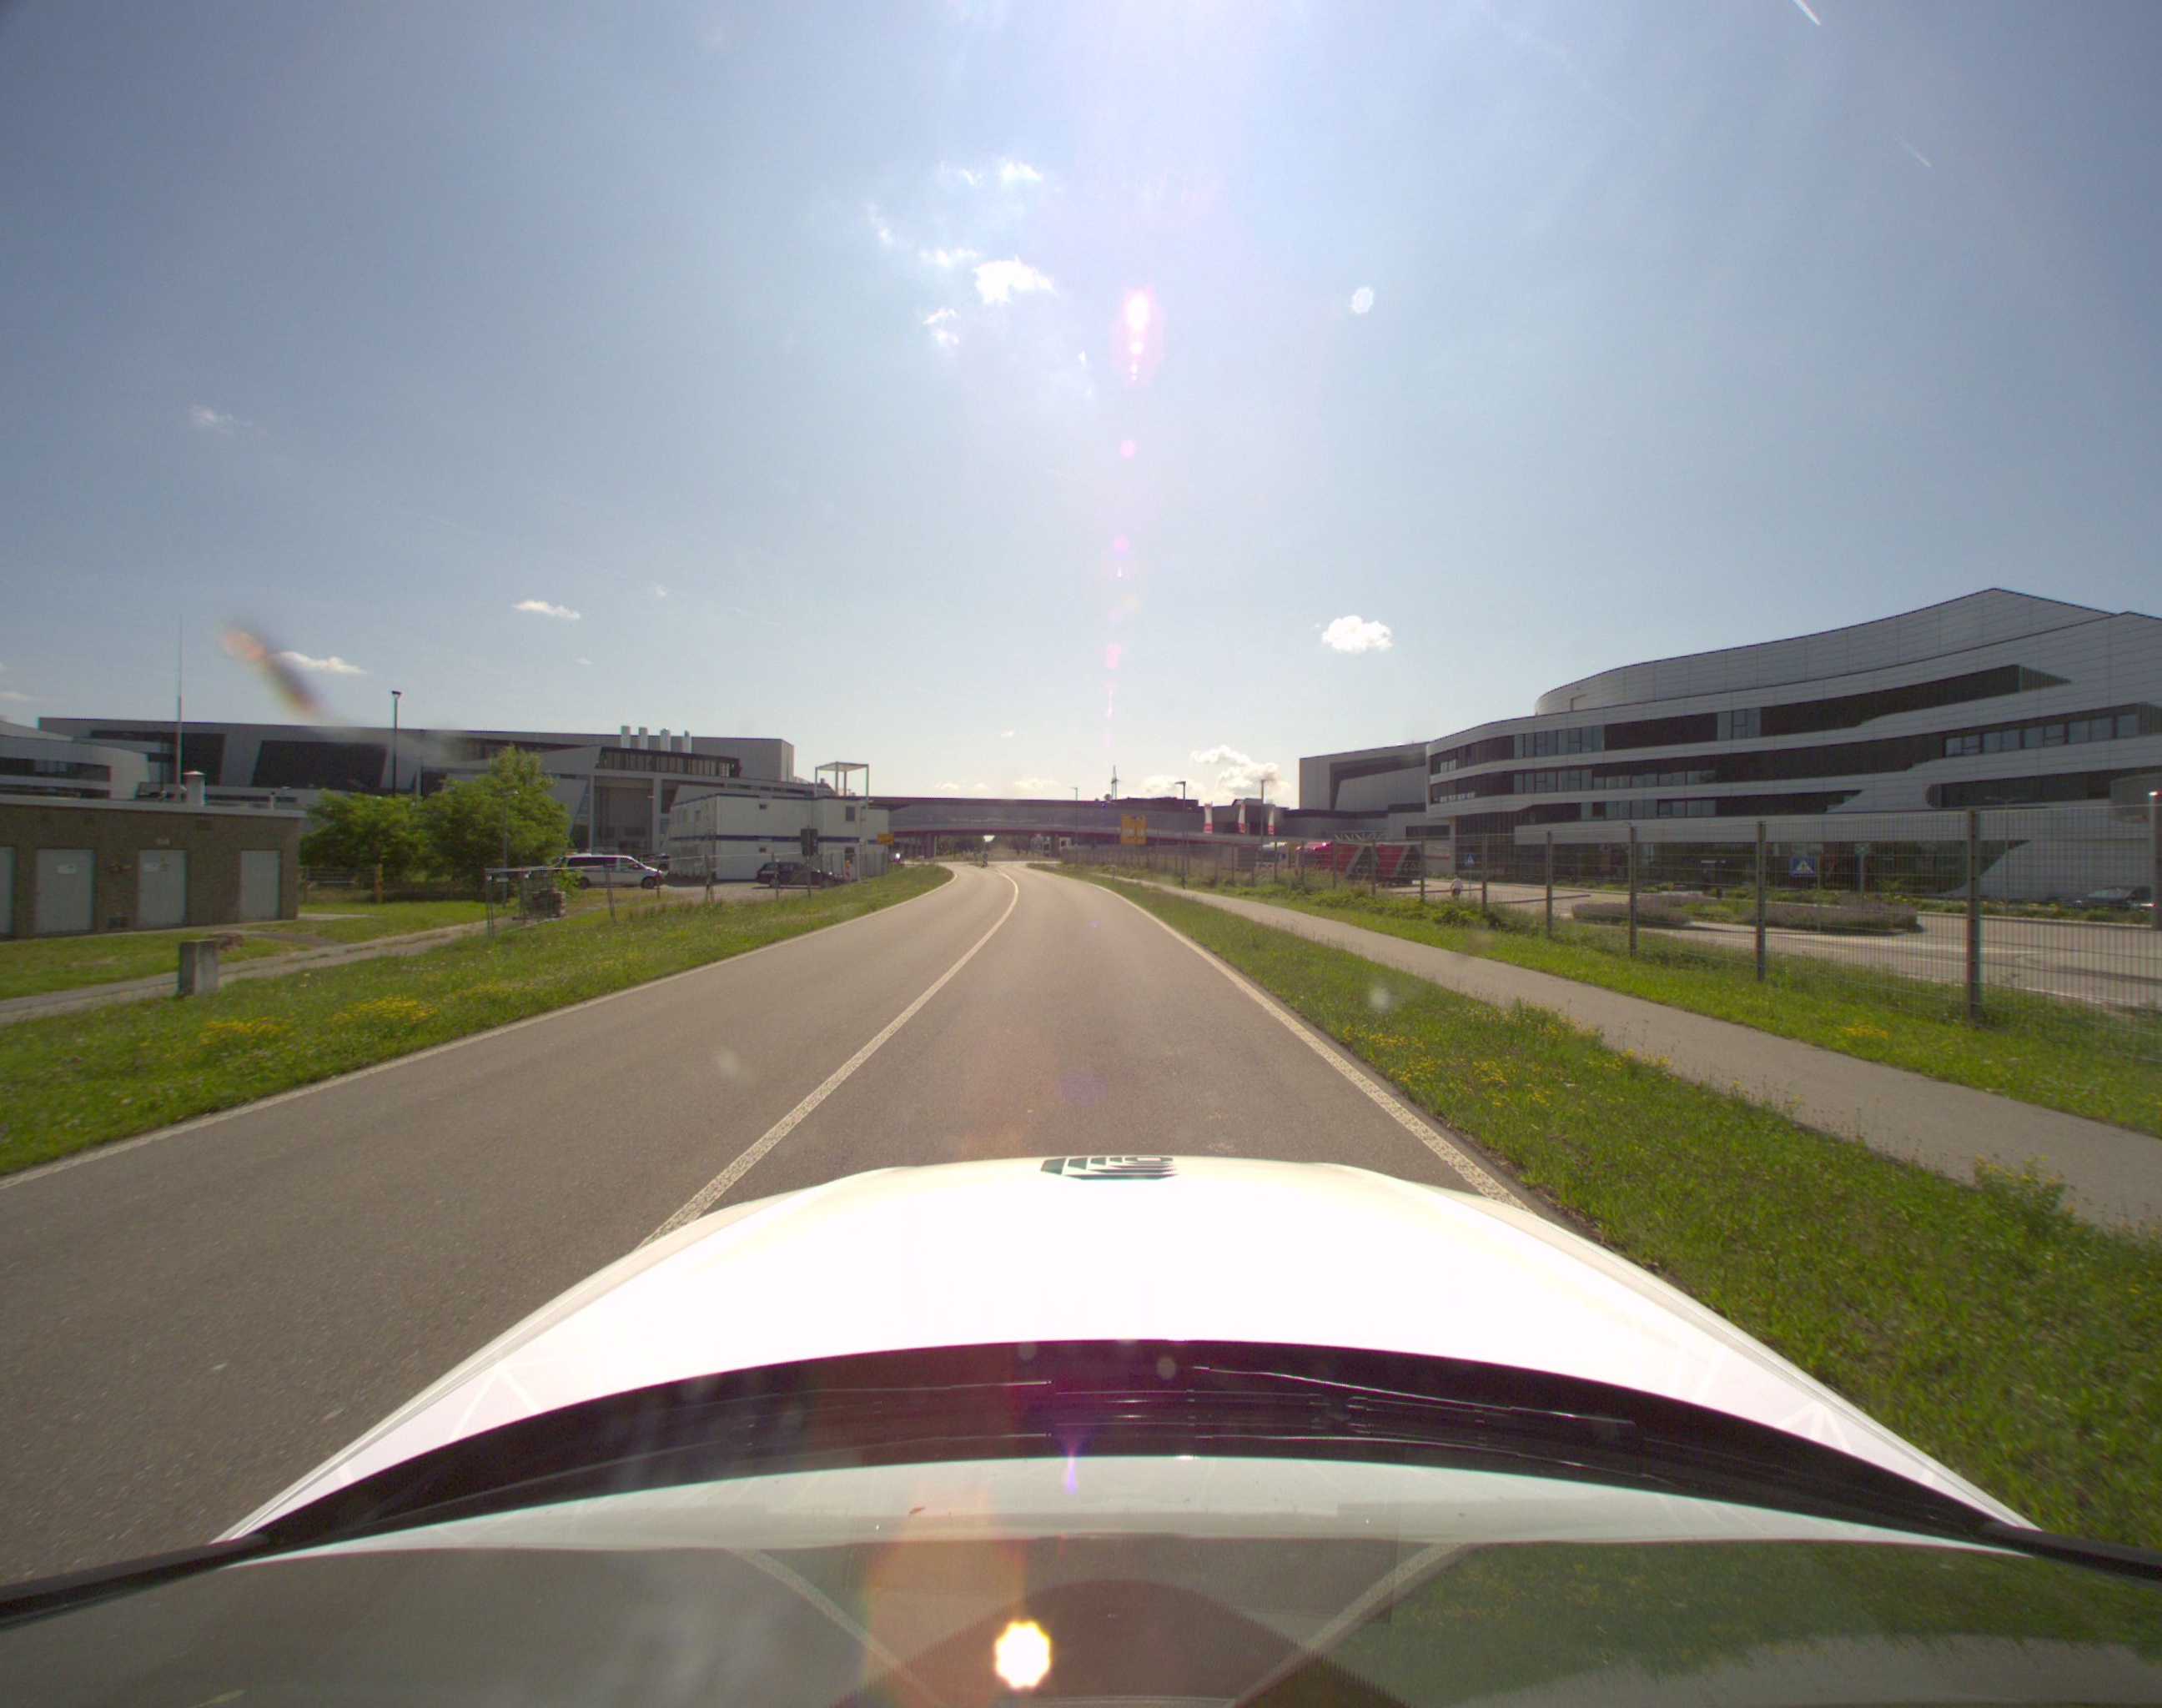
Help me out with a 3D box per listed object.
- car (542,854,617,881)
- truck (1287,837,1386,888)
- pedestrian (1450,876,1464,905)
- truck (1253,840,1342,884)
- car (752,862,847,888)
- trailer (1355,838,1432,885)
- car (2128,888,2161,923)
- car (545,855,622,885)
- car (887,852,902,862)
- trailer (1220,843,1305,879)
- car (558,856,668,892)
[{"bbox_3d":[-37.065,0.975,60.285,1.975,1.866,4.340,0,0,43],"label":"car"},{"bbox_3d":[22.932,0.723,72.737,11.031,4.256,2.993,0,-1,-41],"label":"truck"},{"bbox_3d":[21.768,2.108,47.136,0.482,1.653,0.573,1,-1,-4],"label":"pedestrian"},{"bbox_3d":[21.878,0.768,81.813,11.030,4.172,2.789,0,-1,-40],"label":"truck"},{"bbox_3d":[-15.992,1.186,46.530,4.981,1.417,1.989,0,0,-17],"label":"car"},{"bbox_3d":[30.442,0.686,79.129,8.760,4.296,2.993,0,-1,-40],"label":"trailer"},{"bbox_3d":[50.199,2.381,37.185,3.039,1.534,1.470,1,0,-2],"label":"car"},{"bbox_3d":[-34.142,1.068,55.932,4.333,1.948,1.978,1,0,-37],"label":"car"},{"bbox_3d":[-27.868,0.419,121.476,1.709,1.482,3.971,-1,-1,-21],"label":"car"},{"bbox_3d":[23.433,0.827,104.439,14.137,4.438,2.733,0,-1,-41],"label":"trailer"},{"bbox_3d":[-25.772,1.076,44.907,5.044,1.867,1.978,1,0,-37],"label":"car"}]
